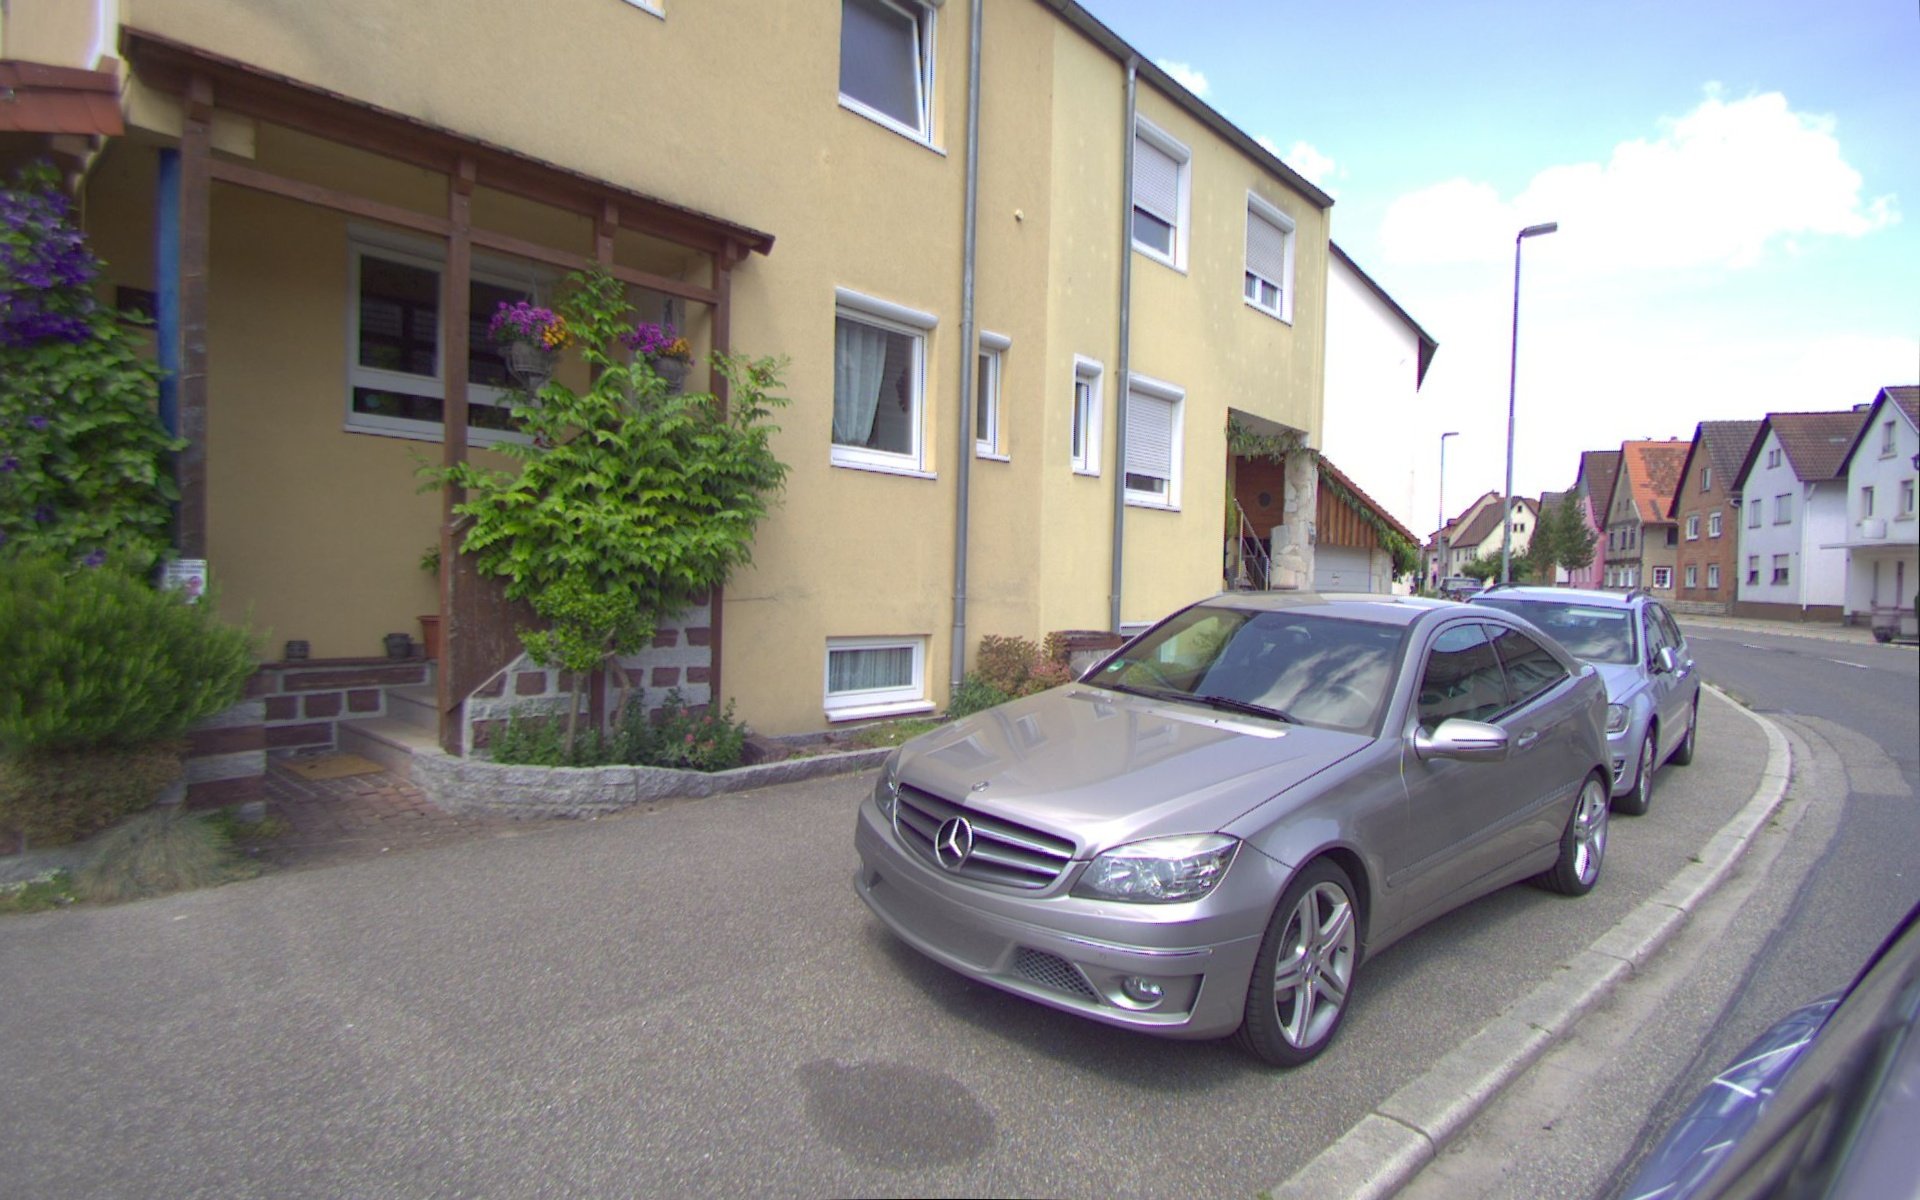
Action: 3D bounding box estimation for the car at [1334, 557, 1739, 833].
[{"bbox_3d":[4.847,0.517,8.194,1.885,1.548,4.269,5,4,42],"label":"car"}]

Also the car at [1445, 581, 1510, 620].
[{"bbox_3d":[23.054,-0.025,45.234,1.641,1.668,3.985,0,1,13],"label":"car"}]

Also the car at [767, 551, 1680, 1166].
[{"bbox_3d":[1.502,0.545,4.521,4.348,1.416,1.774,-2,5,-41],"label":"car"}]

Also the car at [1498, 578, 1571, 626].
[{"bbox_3d":[20.098,0.103,35.532,1.754,1.549,3.967,1,-1,23],"label":"car"}]

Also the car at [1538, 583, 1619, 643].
[{"bbox_3d":[17.160,0.292,28.207,1.713,1.402,3.960,2,3,29],"label":"car"}]

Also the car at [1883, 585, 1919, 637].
[{"bbox_3d":[27.454,0.320,27.677,1.789,1.438,4.516,0,0,22],"label":"car"}]

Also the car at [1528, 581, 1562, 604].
[{"bbox_3d":[43.157,-0.579,74.696,1.665,1.549,3.474,0,2,22],"label":"car"}]
